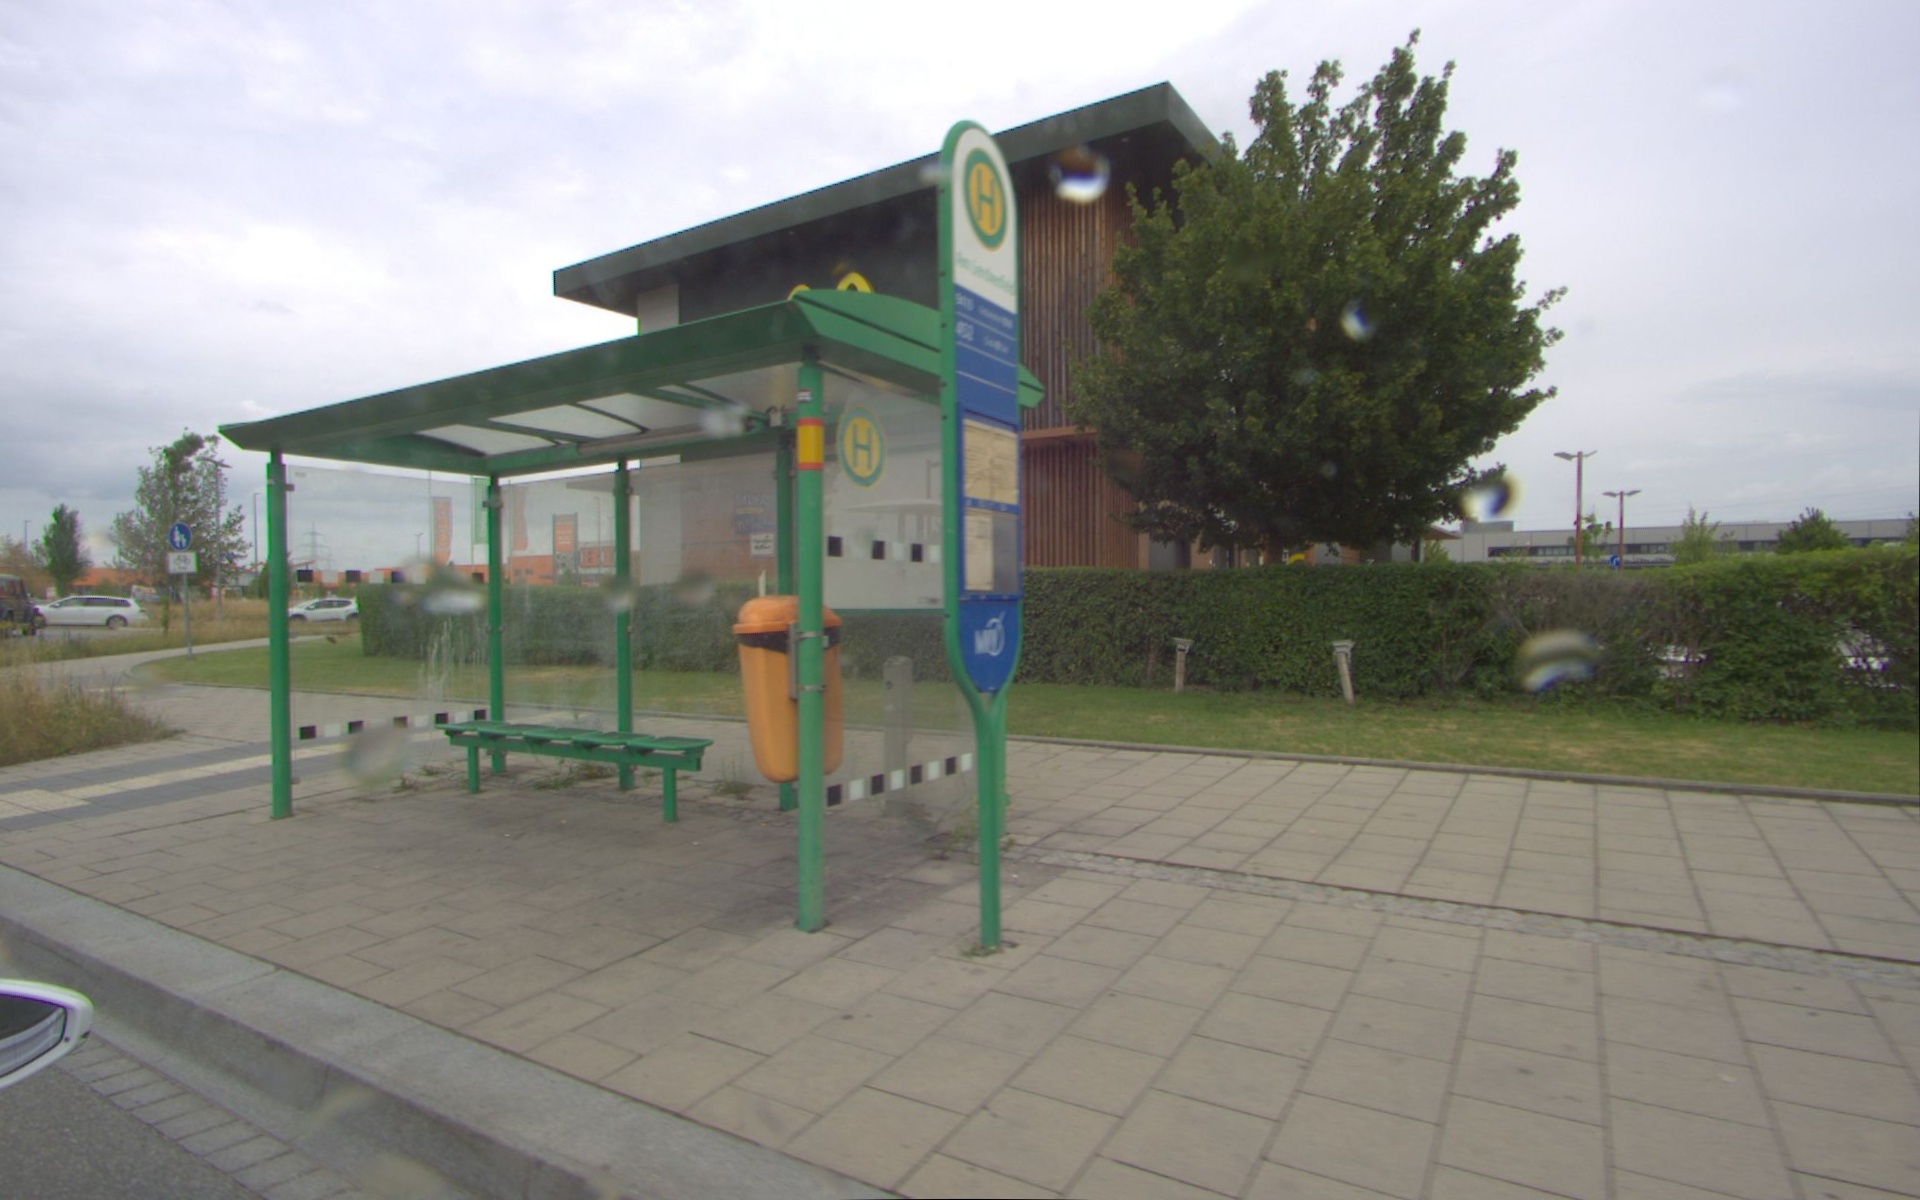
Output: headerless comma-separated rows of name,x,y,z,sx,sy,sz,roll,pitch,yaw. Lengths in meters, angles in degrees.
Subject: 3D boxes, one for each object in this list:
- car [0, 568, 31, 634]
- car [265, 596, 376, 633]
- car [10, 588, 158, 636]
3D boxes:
car,-30.705,-0.036,31.250,2.060,1.913,4.734,-1,2,-38
car,-31.703,0.679,49.770,1.846,1.671,4.308,3,2,38
car,-37.726,0.470,43.266,4.724,1.913,2.064,0,3,-42
